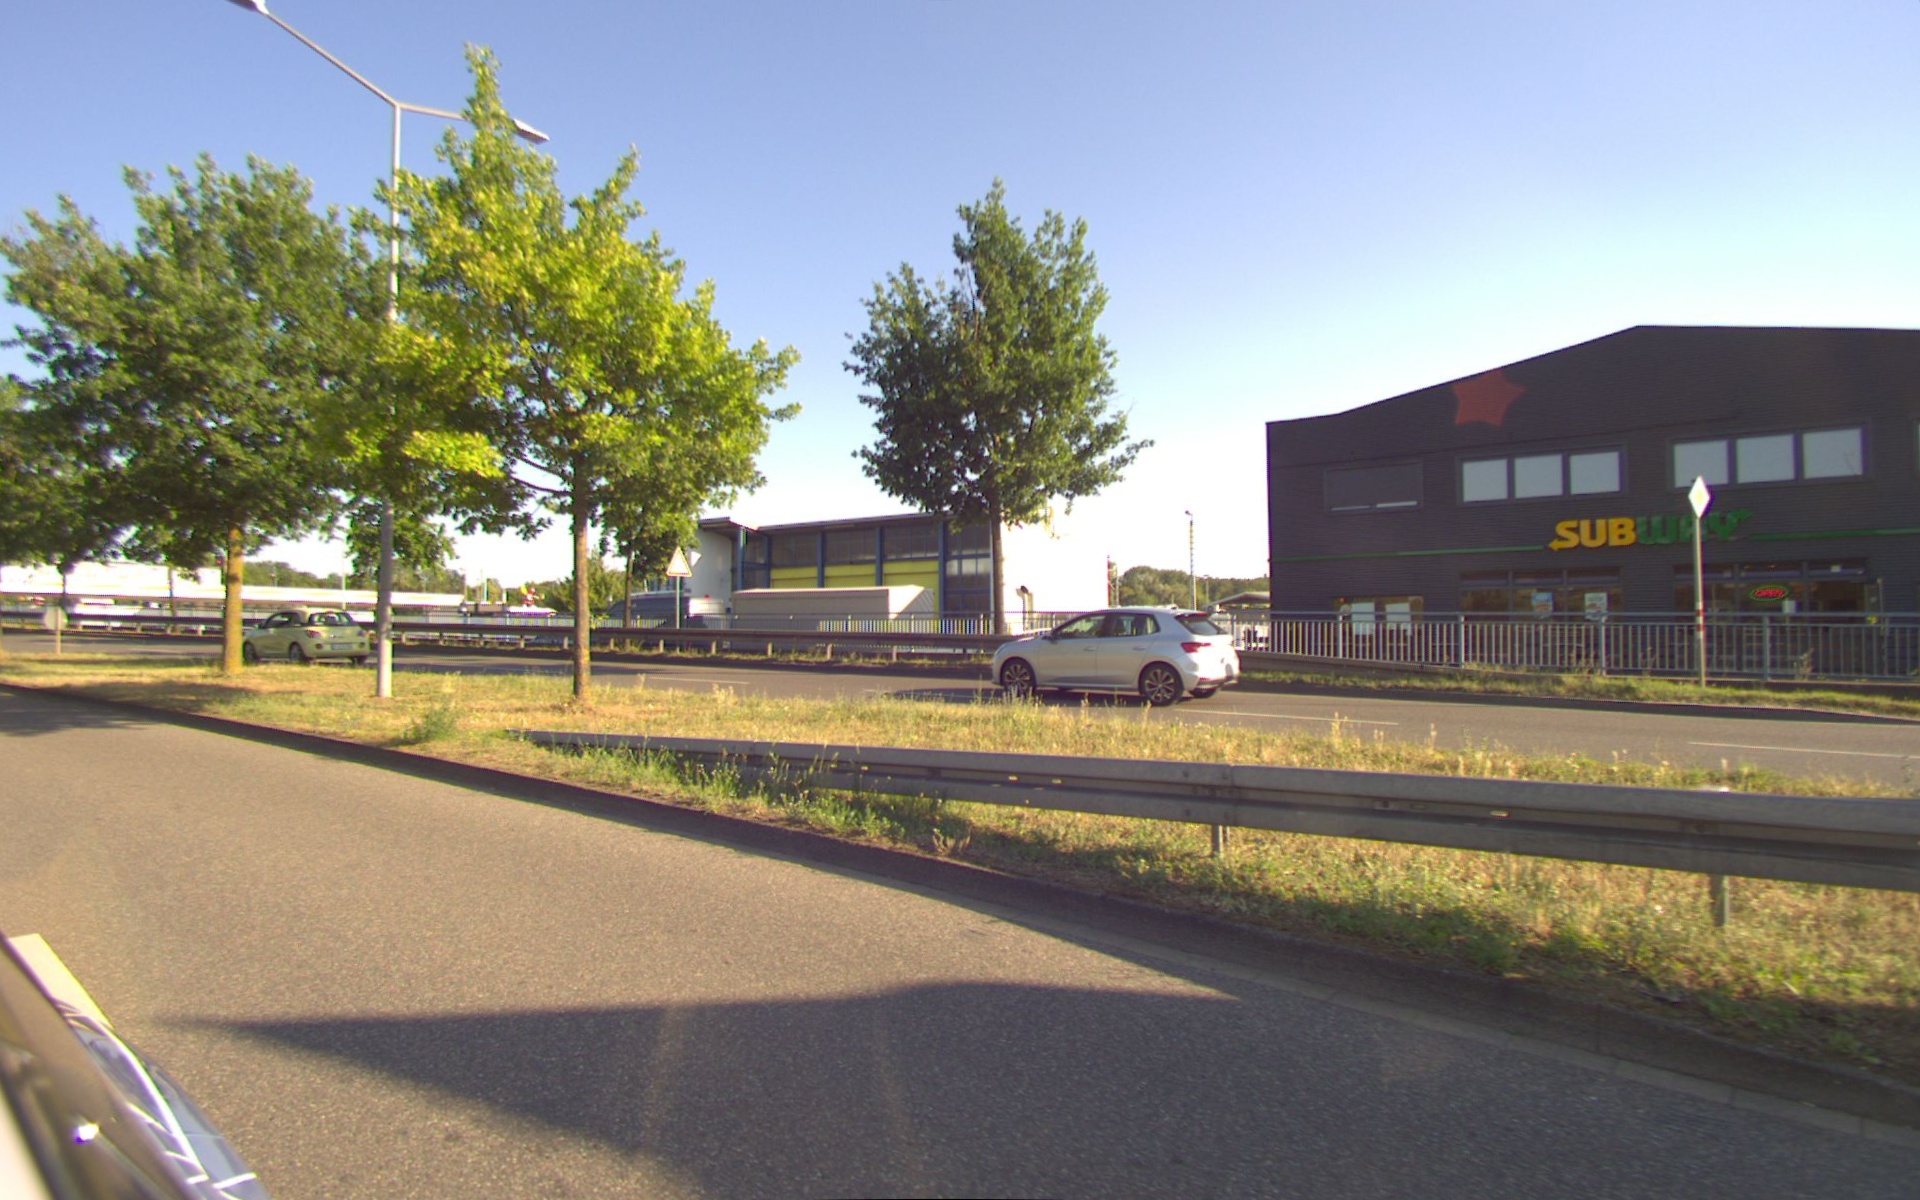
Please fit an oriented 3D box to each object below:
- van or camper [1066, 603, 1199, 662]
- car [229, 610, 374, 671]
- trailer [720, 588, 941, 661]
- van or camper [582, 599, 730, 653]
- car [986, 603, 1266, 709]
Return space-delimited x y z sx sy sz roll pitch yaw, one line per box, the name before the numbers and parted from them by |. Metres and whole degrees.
van or camper | 6.062 1.154 35.549 4.156 1.940 2.007 2 -1 -25
car | -17.210 1.019 26.431 3.752 1.473 1.728 -1 0 31
trailer | -3.954 0.685 30.313 6.584 1.985 2.401 0 -1 32
van or camper | -10.279 0.844 34.128 4.943 1.698 1.979 0 -1 31
car | 2.552 0.799 16.034 4.099 1.474 1.656 0 -1 38
